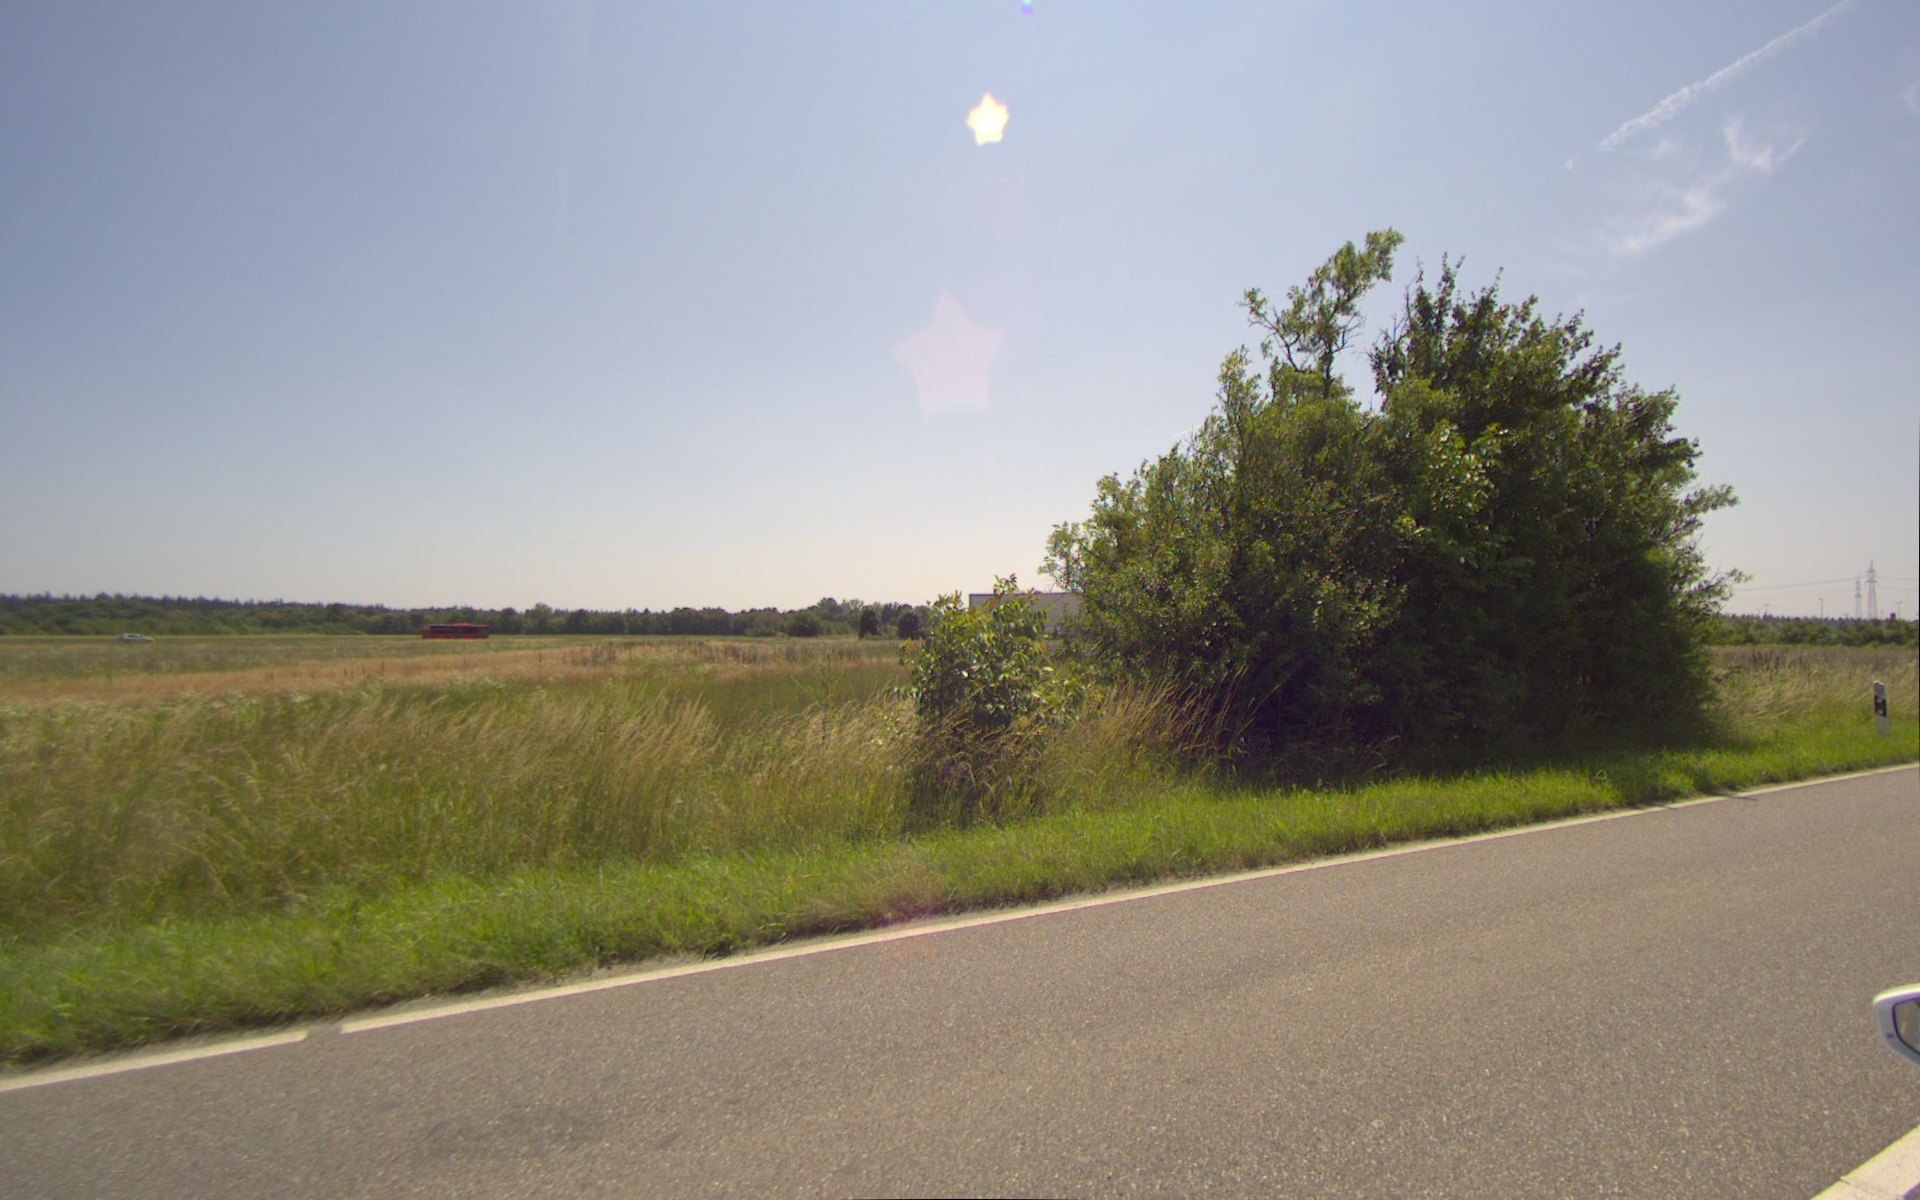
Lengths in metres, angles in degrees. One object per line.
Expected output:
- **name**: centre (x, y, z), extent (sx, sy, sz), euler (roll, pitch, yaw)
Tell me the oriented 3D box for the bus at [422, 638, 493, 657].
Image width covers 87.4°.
- **bus**: centre (-92.192, 8.637, 184.594), extent (3.252, 3.352, 11.978), euler (-1, -2, 26)
